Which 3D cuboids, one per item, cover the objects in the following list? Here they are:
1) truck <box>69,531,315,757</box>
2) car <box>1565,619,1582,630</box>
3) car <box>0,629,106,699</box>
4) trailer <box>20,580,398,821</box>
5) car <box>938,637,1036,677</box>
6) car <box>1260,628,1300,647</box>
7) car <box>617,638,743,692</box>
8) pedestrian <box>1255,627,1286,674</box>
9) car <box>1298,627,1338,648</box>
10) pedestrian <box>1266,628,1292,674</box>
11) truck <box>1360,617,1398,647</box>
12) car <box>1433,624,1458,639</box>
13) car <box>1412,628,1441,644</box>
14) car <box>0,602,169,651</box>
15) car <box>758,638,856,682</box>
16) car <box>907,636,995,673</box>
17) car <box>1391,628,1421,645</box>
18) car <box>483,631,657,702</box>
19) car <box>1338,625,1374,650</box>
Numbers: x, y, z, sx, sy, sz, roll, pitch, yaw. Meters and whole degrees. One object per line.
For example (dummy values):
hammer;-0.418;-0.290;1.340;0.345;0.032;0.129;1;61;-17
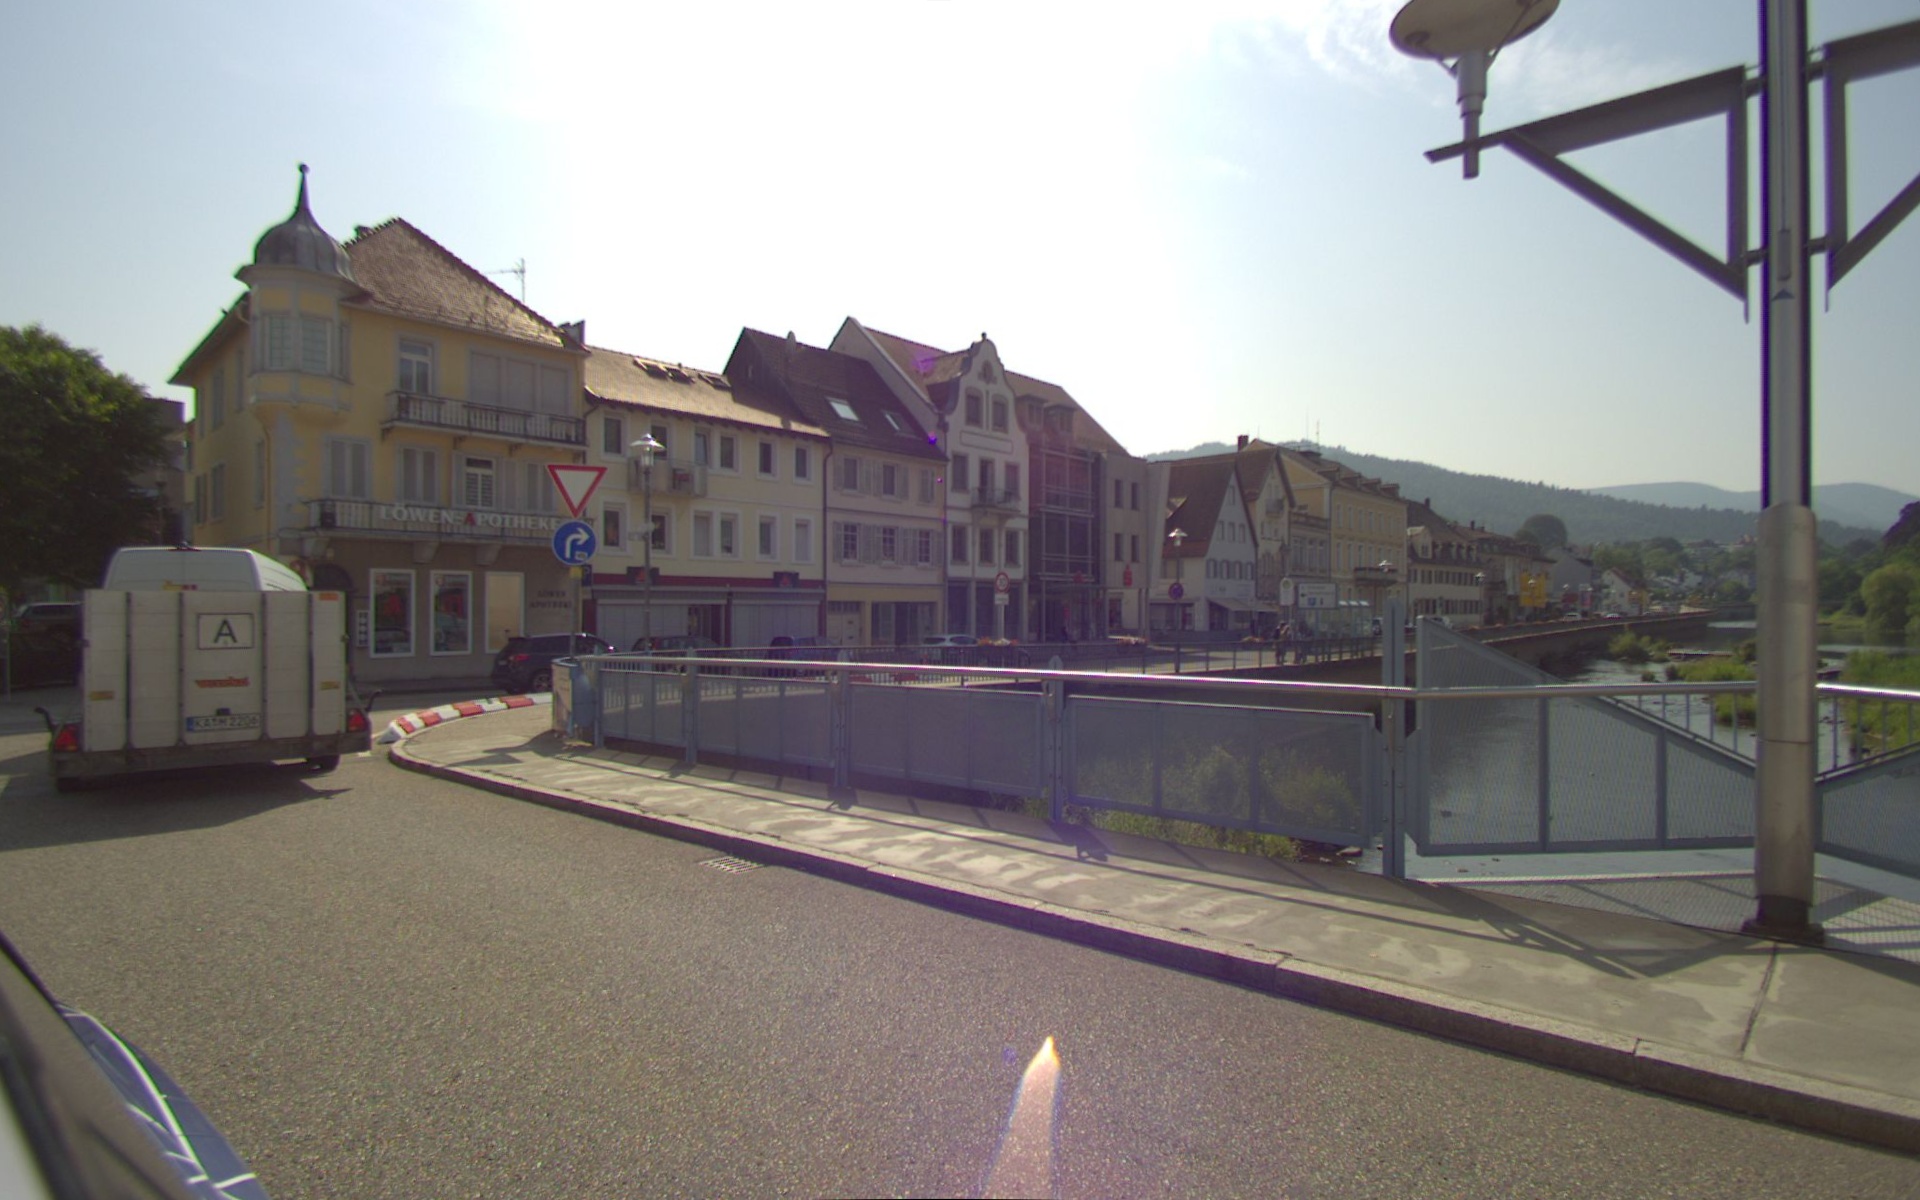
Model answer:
truck;-11.566;0.705;15.829;2.075;2.720;7.154;0;-3;-29
car;83.071;3.371;136.991;1.517;1.459;3.233;-2;-2;39
car;-24.233;1.609;25.569;1.897;1.554;3.957;0;1;2
trailer;-8.100;0.868;10.752;2.578;1.841;5.645;1;-2;-41
car;1.118;2.196;39.614;1.753;1.367;4.147;-2;-1;37
car;22.230;2.592;70.348;1.567;1.229;3.233;-2;-2;39
car;-9.004;2.041;32.745;1.851;1.580;3.521;-2;-2;39
pedestrian;11.696;1.891;38.102;0.869;1.719;0.766;-1;-1;42
car;26.408;2.760;74.640;1.751;1.459;3.233;-2;-2;39
pedestrian;12.155;1.931;38.576;0.792;1.719;0.485;-1;-1;43
truck;36.404;2.771;87.805;1.751;2.487;4.600;-2;-2;39
car;49.024;3.219;102.158;1.517;1.459;3.233;-2;-2;39
car;44.491;3.386;96.576;1.751;1.459;3.233;-2;-2;39
car;-35.624;1.056;41.258;1.996;1.905;5.010;-2;-1;36
car;-5.559;2.151;36.984;1.751;1.459;3.233;-2;-2;39
car;-0.340;2.297;43.188;1.751;1.459;3.745;-2;-2;39
car;40.517;3.303;91.919;1.751;1.459;3.233;-2;-2;39
car;-10.082;1.664;26.382;1.683;1.572;3.916;-2;-1;41
car;32.488;3.037;82.910;1.751;1.950;3.530;-2;-2;39
